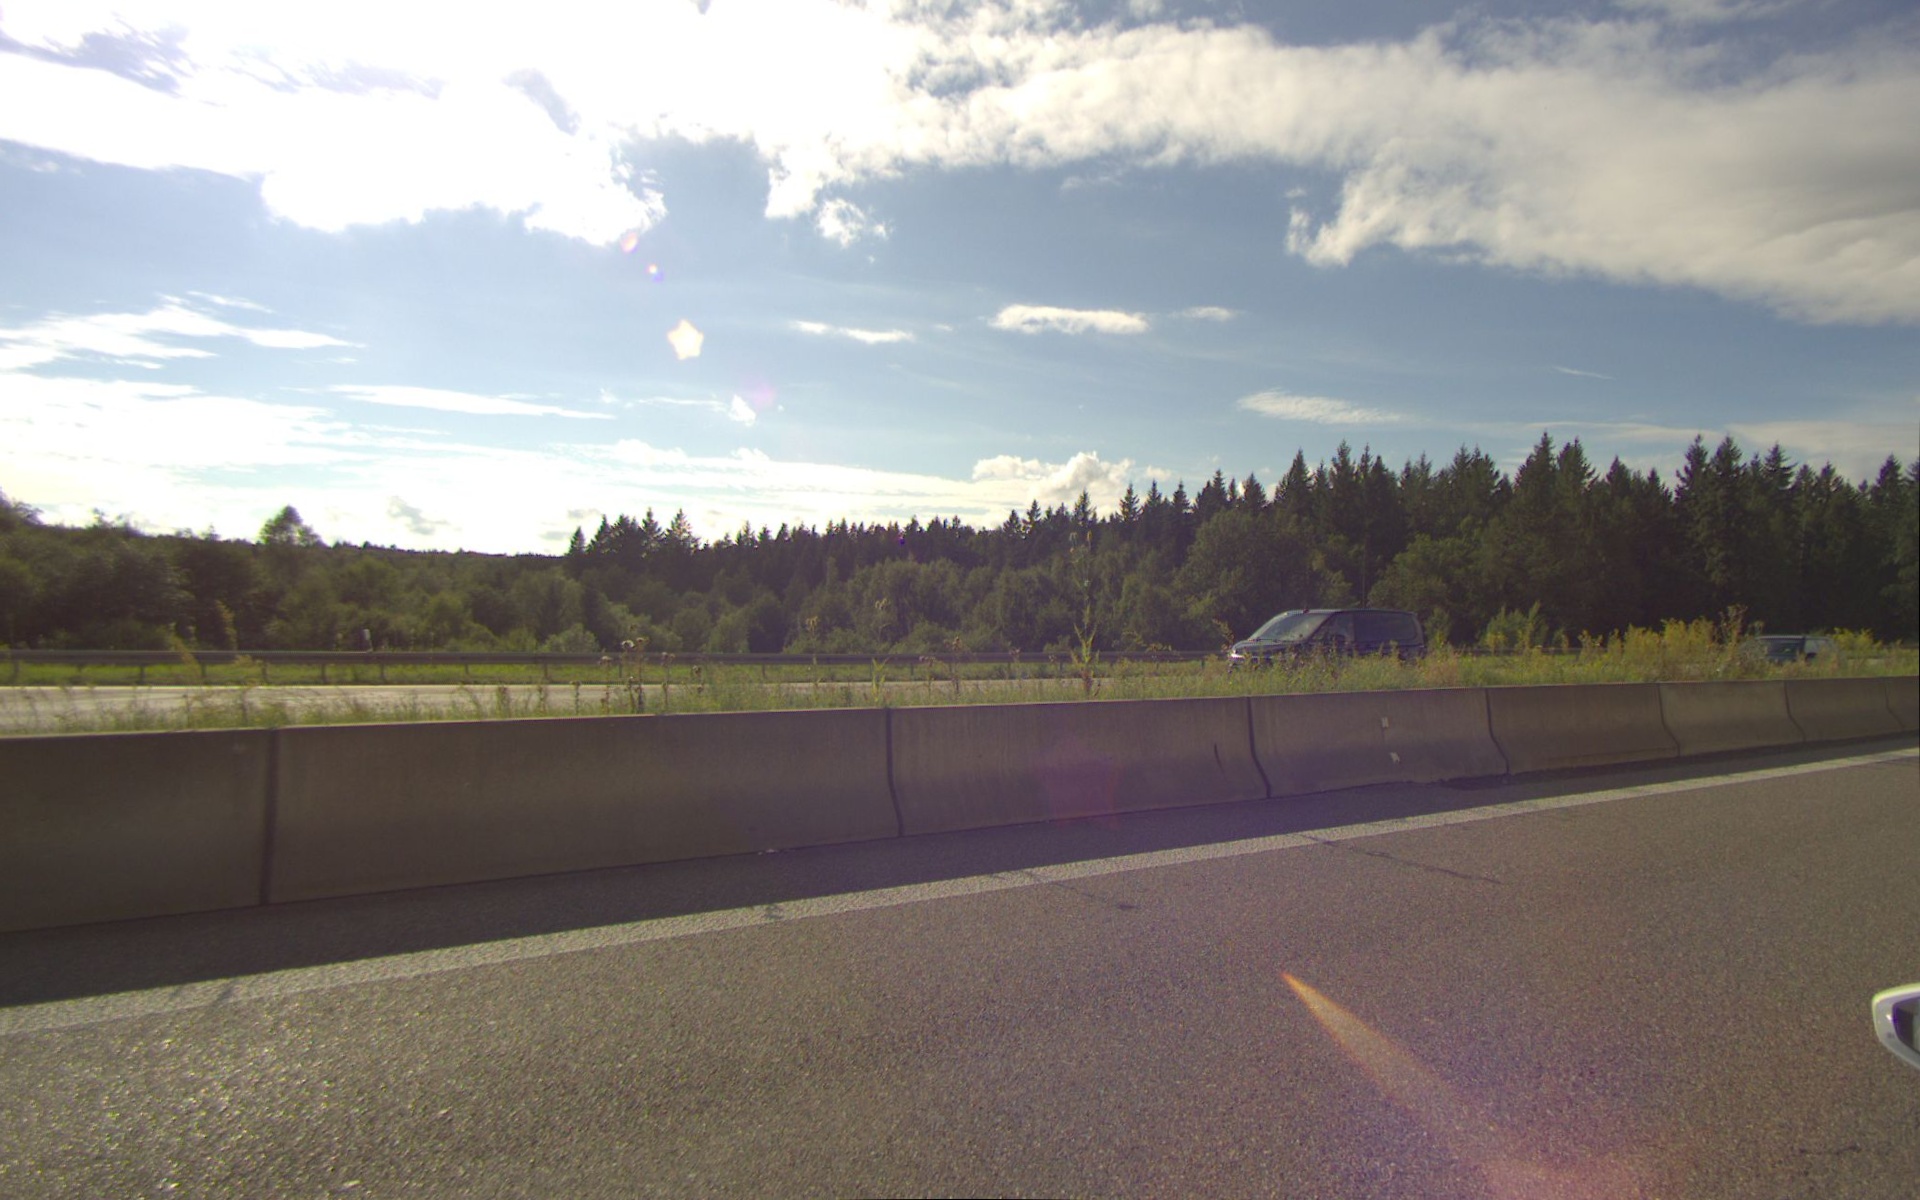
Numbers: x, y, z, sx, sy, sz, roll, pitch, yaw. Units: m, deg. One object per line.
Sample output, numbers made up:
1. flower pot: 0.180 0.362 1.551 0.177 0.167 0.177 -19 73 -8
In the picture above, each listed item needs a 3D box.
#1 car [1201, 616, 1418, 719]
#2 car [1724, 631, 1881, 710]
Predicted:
1. car: 7.474 1.370 21.366 4.437 1.901 1.869 2 1 -30
2. car: 23.281 1.899 27.729 4.437 1.901 1.869 2 1 -30
